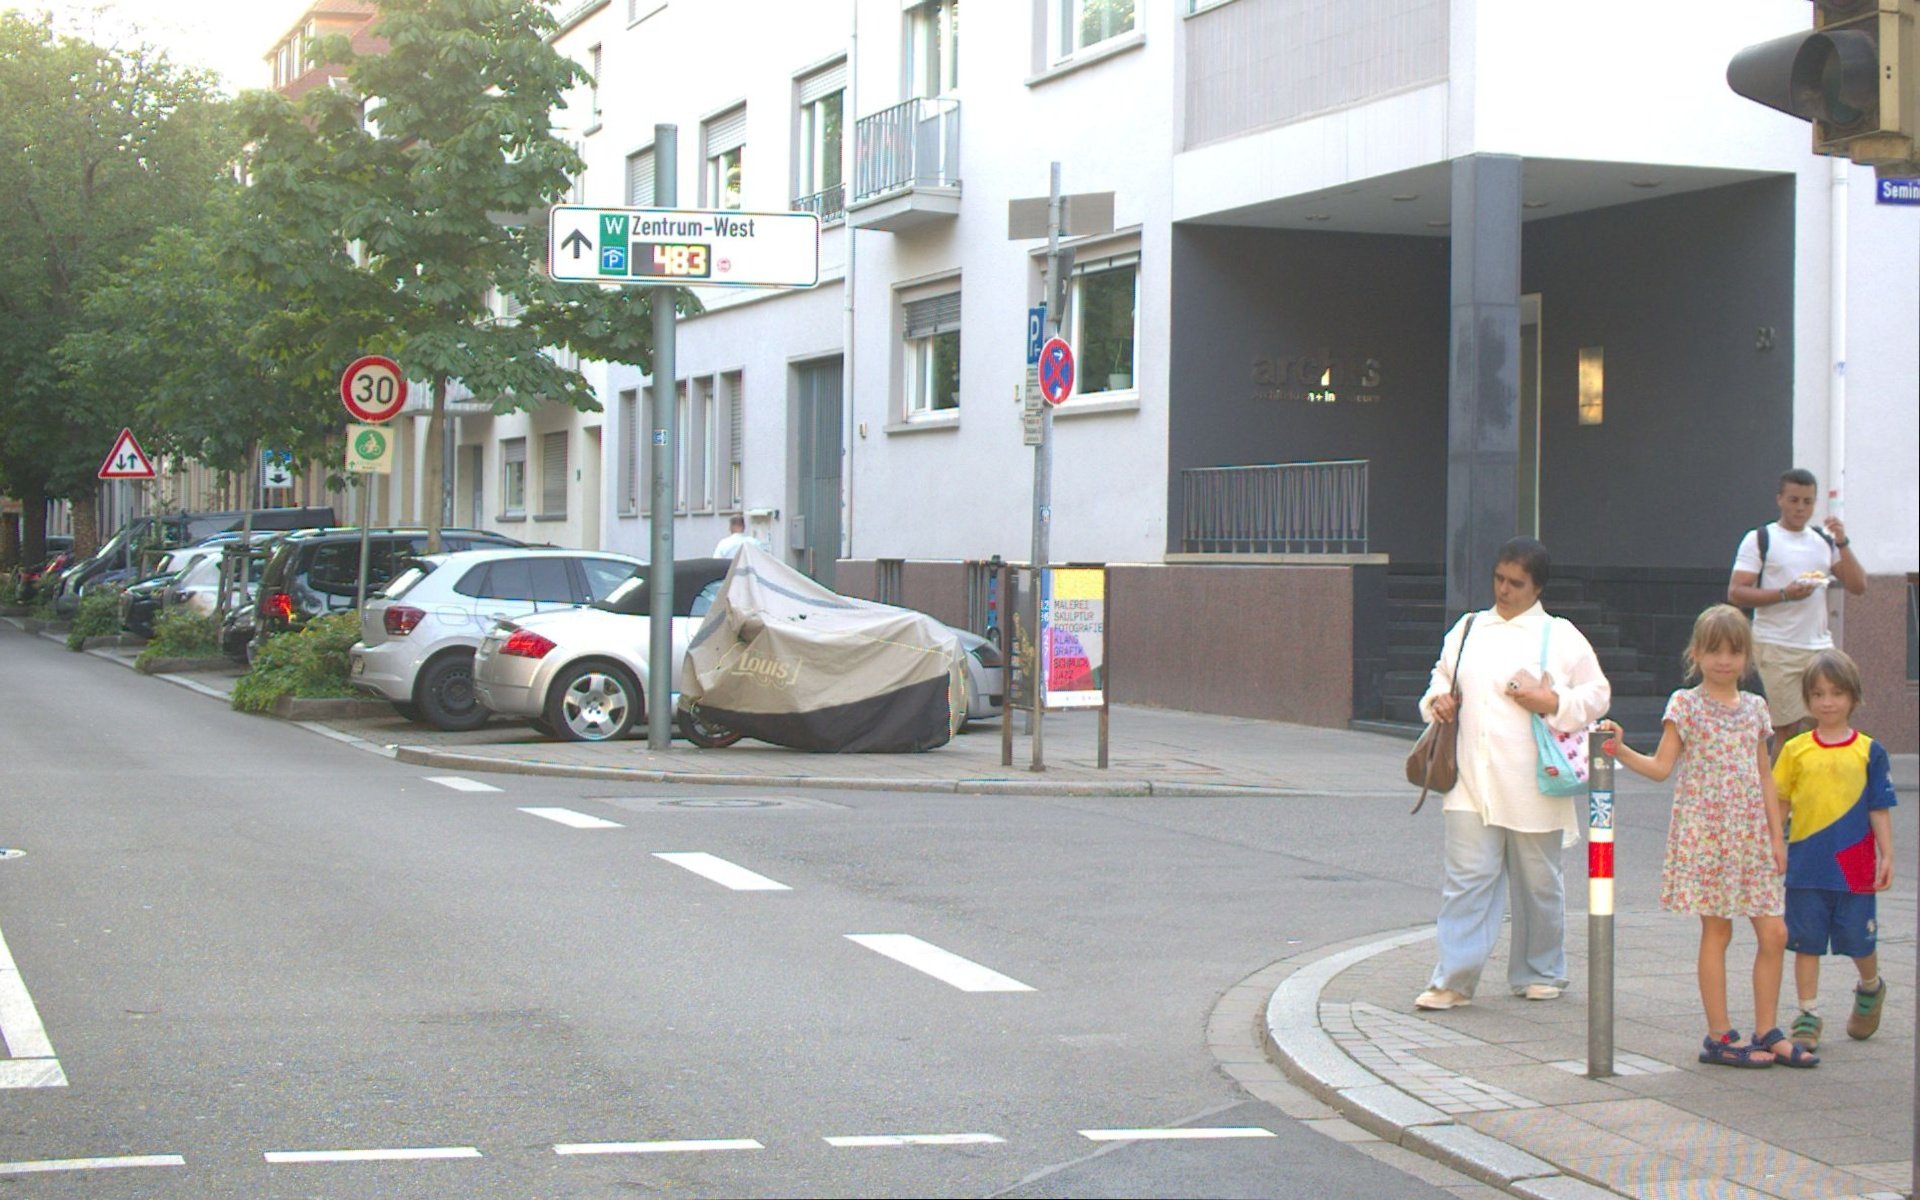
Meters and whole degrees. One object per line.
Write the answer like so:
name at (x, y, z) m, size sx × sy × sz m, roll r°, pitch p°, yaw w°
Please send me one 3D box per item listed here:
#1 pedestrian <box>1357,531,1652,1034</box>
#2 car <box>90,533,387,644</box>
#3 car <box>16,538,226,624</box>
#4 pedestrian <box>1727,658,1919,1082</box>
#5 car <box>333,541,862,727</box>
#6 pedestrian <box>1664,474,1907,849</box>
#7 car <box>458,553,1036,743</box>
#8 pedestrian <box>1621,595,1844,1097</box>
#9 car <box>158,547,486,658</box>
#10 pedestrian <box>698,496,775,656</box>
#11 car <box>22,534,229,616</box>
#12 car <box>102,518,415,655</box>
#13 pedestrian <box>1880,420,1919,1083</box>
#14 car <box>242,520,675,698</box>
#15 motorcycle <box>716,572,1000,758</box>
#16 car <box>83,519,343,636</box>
pedestrian at (1.711, 0.538, 10.729) m, size 0.774 × 1.496 × 0.801 m, roll 0°, pitch 1°, yaw 19°
car at (-10.422, -0.170, 49.647) m, size 4.013 × 1.525 × 1.707 m, roll 1°, pitch 1°, yaw -18°
car at (-16.788, -0.384, 68.942) m, size 3.977 × 1.572 × 1.911 m, roll 2°, pitch 0°, yaw -12°
pedestrian at (2.499, 0.747, 9.862) m, size 0.565 × 1.117 × 0.837 m, roll 0°, pitch 2°, yaw 12°
car at (-2.971, 0.247, 28.049) m, size 4.013 × 1.437 × 1.707 m, roll 0°, pitch 1°, yaw -18°
pedestrian at (4.156, 0.297, 17.361) m, size 0.766 × 1.835 × 0.944 m, roll 1°, pitch 1°, yaw -17°
car at (-1.613, 0.328, 25.711) m, size 4.013 × 1.338 × 1.707 m, roll 0°, pitch 1°, yaw -18°
pedestrian at (2.128, 0.661, 9.514) m, size 0.505 × 1.331 × 0.541 m, roll 1°, pitch 1°, yaw 5°
car at (-8.340, 0.022, 44.897) m, size 4.013 × 1.404 × 1.707 m, roll 0°, pitch 1°, yaw -18°
pedestrian at (-2.483, -0.274, 38.131) m, size 0.703 × 1.746 × 0.700 m, roll 1°, pitch 1°, yaw -14°
car at (-17.210, -0.514, 70.870) m, size 4.013 × 1.596 × 1.707 m, roll 1°, pitch 1°, yaw -18°
car at (-9.577, -0.193, 46.916) m, size 4.013 × 1.809 × 1.707 m, roll 0°, pitch 1°, yaw -18°
pedestrian at (3.064, 0.404, 9.641) m, size 0.889 × 1.809 × 0.793 m, roll 1°, pitch 3°, yaw 16°
car at (-4.988, 0.071, 34.128) m, size 4.013 × 1.684 × 1.707 m, roll 0°, pitch 1°, yaw -18°
motorcycle at (-0.681, 0.420, 22.672) m, size 1.799 × 1.195 × 0.613 m, roll 0°, pitch 1°, yaw -9°
car at (-12.326, -0.370, 56.687) m, size 4.013 × 1.824 × 1.707 m, roll 1°, pitch 1°, yaw -18°
